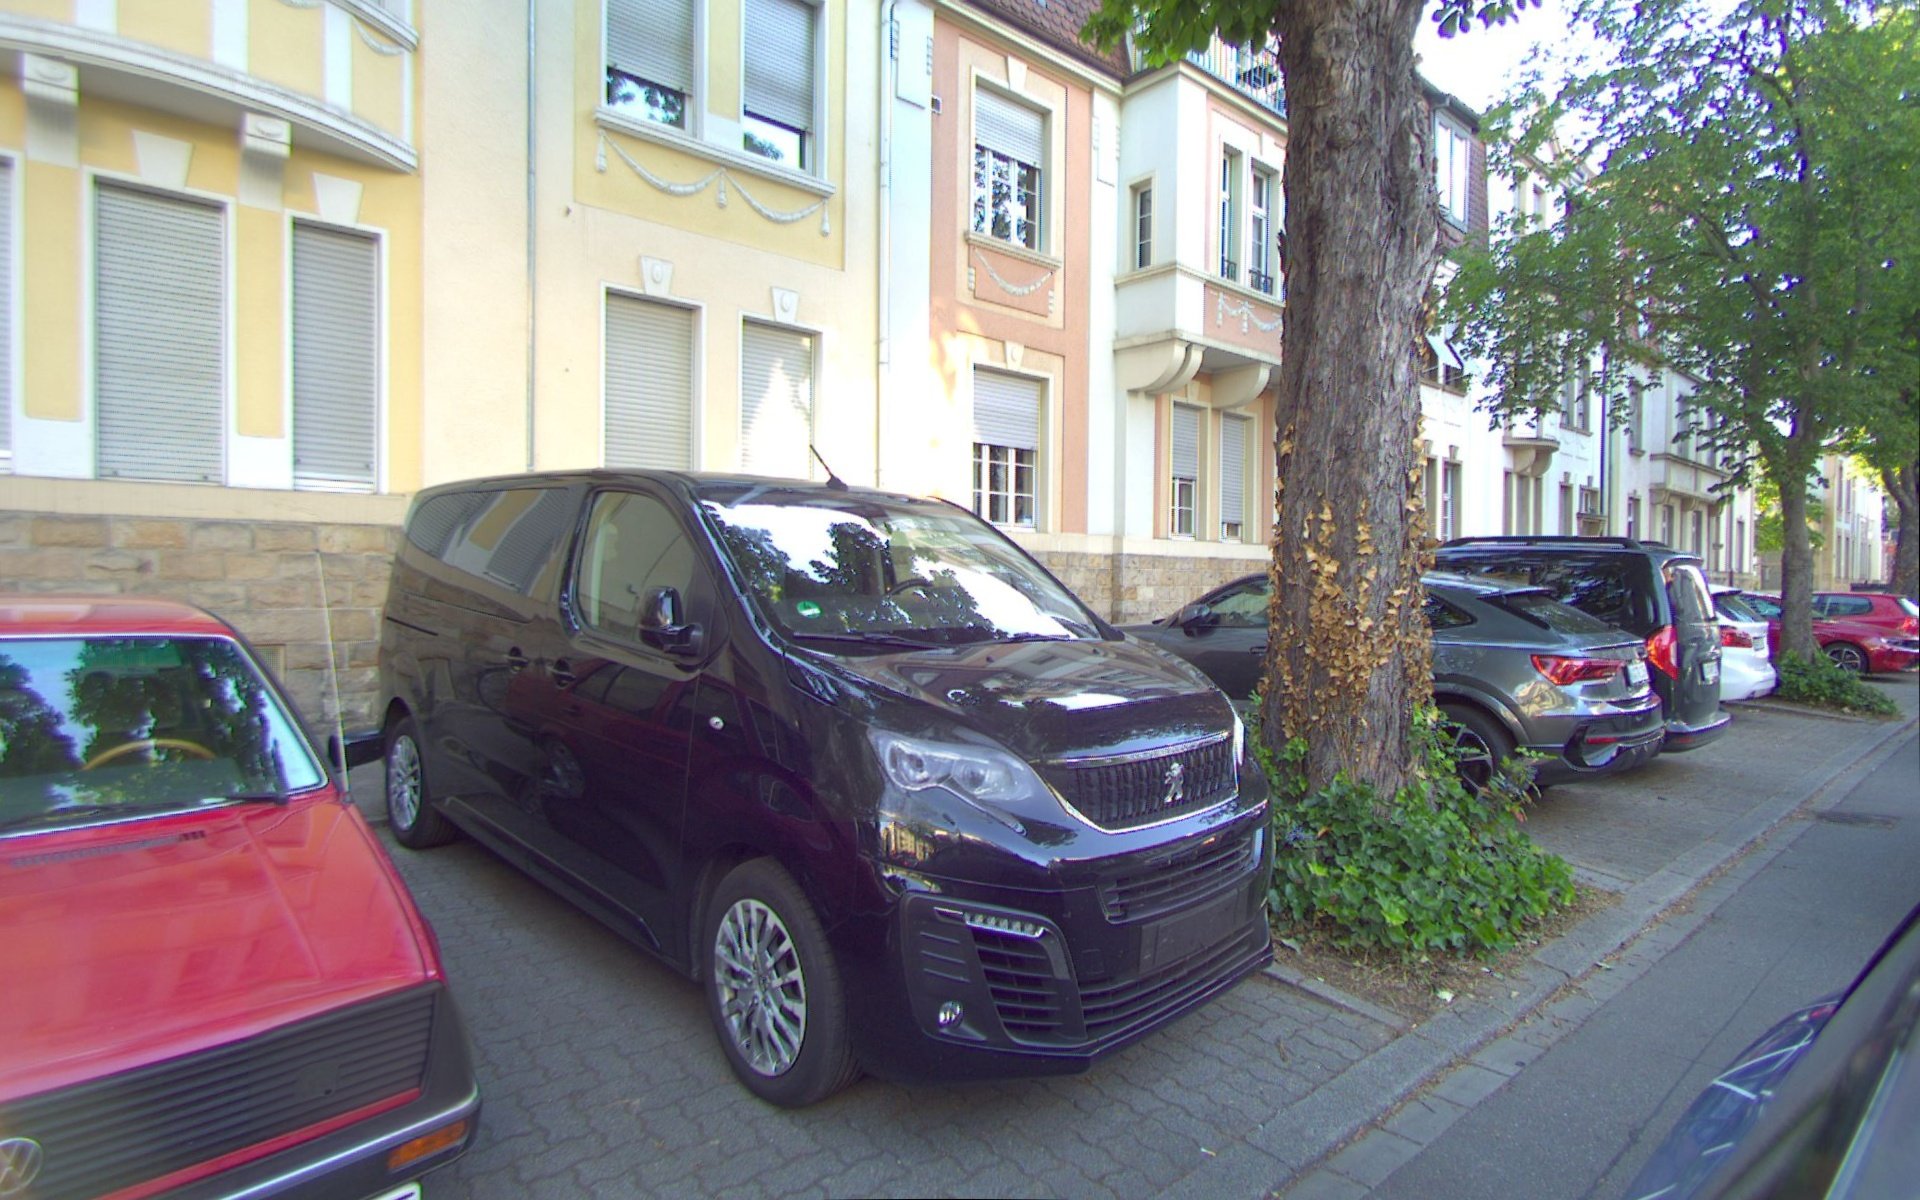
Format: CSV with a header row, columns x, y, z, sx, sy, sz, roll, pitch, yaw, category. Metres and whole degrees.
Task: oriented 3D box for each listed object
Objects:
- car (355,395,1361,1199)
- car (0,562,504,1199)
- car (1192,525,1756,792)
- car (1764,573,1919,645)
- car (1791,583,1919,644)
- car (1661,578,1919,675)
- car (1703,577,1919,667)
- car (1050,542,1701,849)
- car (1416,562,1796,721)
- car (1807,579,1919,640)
x,y,z,sx,sy,sz,roll,pitch,yaw,category
-0.998,0.348,4.522,1.851,1.846,4.825,-1,4,-44,car
-2.791,0.610,2.937,1.532,1.336,3.917,-1,4,-43,car
4.310,0.281,9.016,1.569,1.849,4.165,-1,4,-44,car
21.615,0.187,24.082,1.511,1.584,3.621,0,2,-40,car
23.986,0.340,26.166,1.511,1.420,3.621,0,3,-40,car
14.908,0.395,18.075,1.511,1.420,3.621,0,3,-40,car
16.856,0.375,19.661,1.511,1.482,3.621,0,3,-40,car
2.776,0.419,7.511,1.569,1.611,4.165,-1,4,-44,car
7.725,0.375,12.326,1.513,1.569,3.616,-1,3,-45,car
25.927,0.259,27.980,1.511,1.584,3.621,0,2,-40,car
